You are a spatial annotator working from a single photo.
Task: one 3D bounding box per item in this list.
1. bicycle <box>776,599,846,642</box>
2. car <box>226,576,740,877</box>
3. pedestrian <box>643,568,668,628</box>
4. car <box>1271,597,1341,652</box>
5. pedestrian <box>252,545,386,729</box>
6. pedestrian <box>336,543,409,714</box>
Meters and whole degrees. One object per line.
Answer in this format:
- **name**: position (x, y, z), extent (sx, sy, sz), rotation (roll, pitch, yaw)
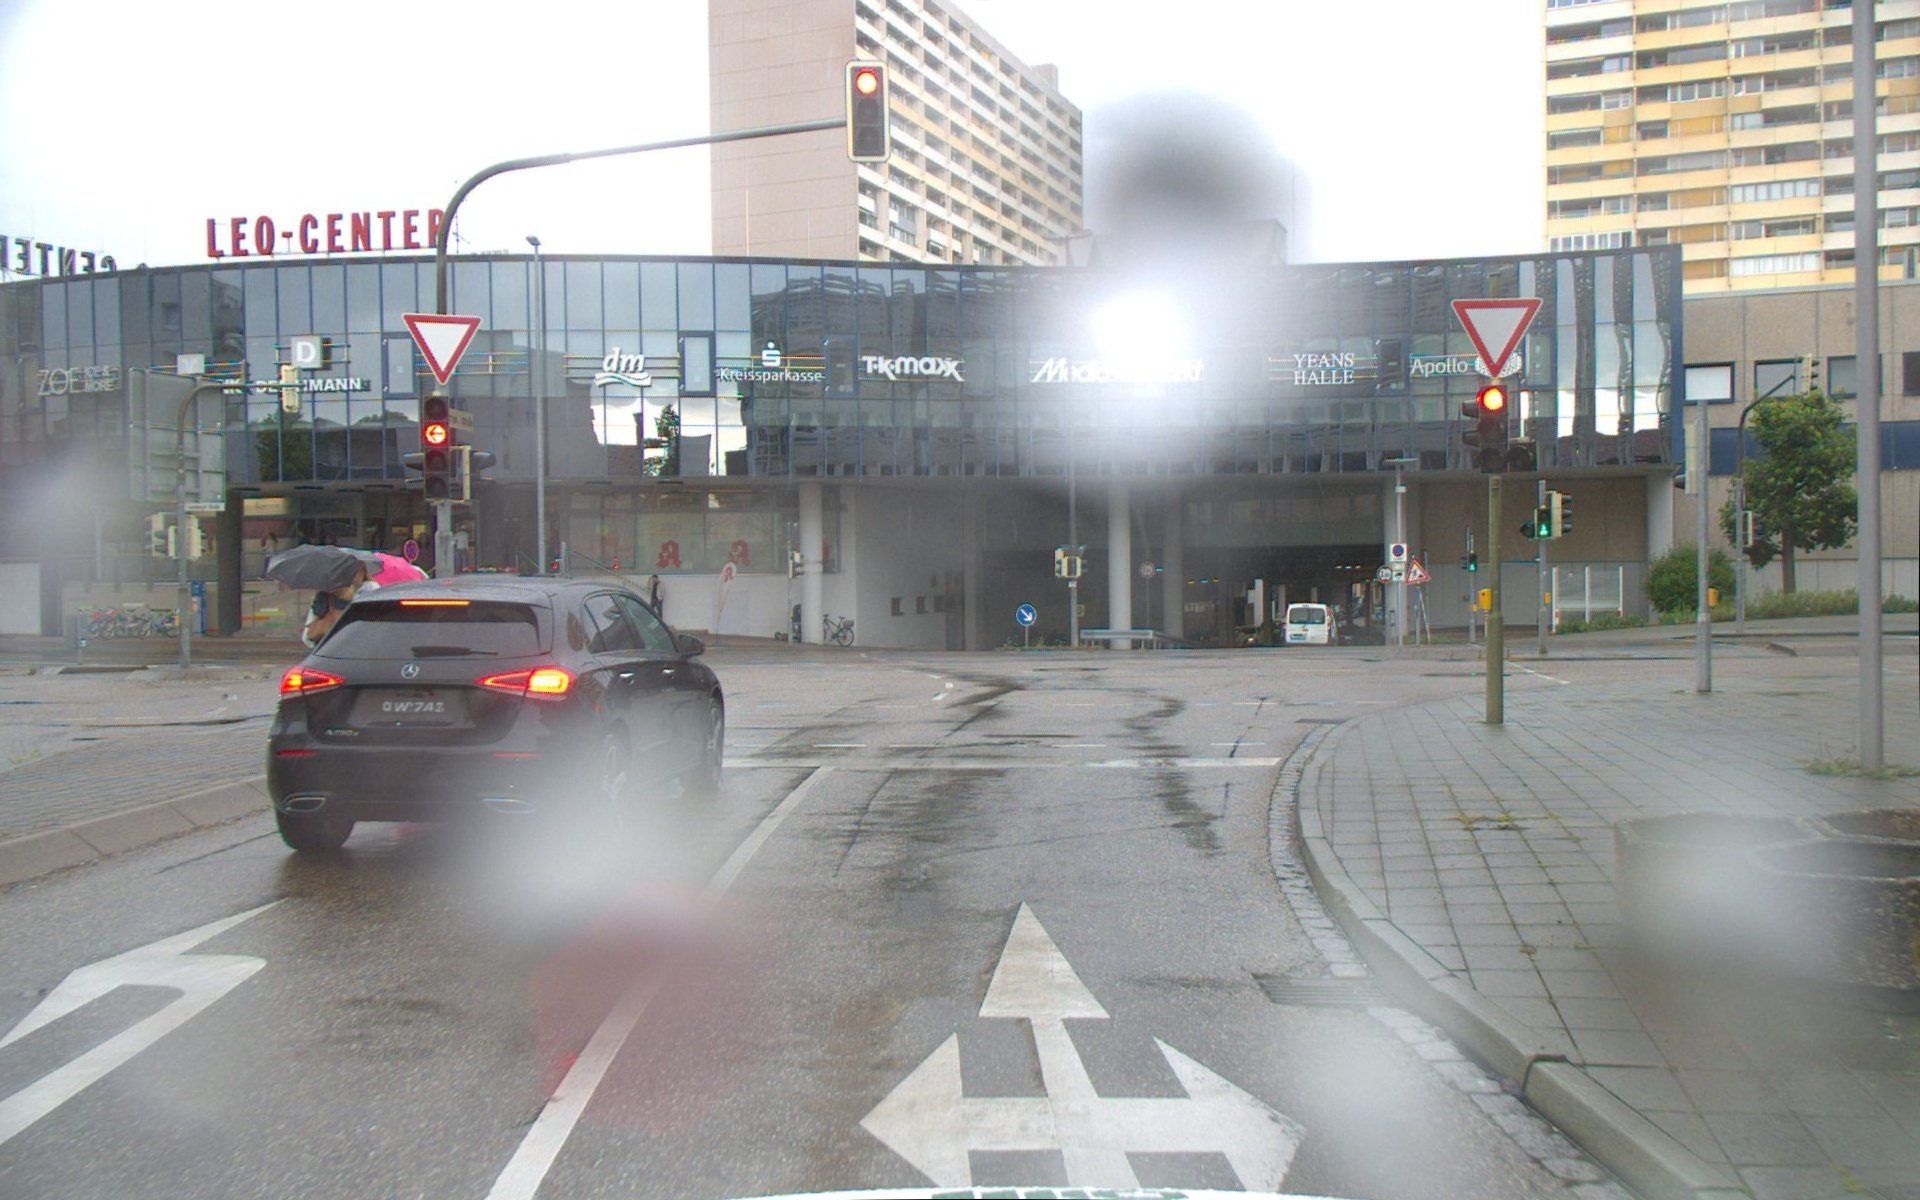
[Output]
- **bicycle**: position (-5.277, 0.718, 58.621), extent (2.388, 1.489, 0.652), rotation (-1, 2, -20)
- **car**: position (-2.583, 0.590, 10.017), extent (1.767, 1.444, 4.002), rotation (-1, 1, 3)
- **pedestrian**: position (-10.630, -0.075, 57.750), extent (0.772, 2.049, 0.669), rotation (-1, 0, -7)
- **car**: position (12.029, 0.822, 57.377), extent (1.951, 1.747, 4.002), rotation (-1, 1, 18)
- **pedestrian**: position (-6.153, 0.347, 15.881), extent (0.905, 1.688, 0.743), rotation (3, 0, -45)
- **pedestrian**: position (-5.999, 0.278, 16.876), extent (0.601, 1.688, 0.668), rotation (3, 0, -22)
